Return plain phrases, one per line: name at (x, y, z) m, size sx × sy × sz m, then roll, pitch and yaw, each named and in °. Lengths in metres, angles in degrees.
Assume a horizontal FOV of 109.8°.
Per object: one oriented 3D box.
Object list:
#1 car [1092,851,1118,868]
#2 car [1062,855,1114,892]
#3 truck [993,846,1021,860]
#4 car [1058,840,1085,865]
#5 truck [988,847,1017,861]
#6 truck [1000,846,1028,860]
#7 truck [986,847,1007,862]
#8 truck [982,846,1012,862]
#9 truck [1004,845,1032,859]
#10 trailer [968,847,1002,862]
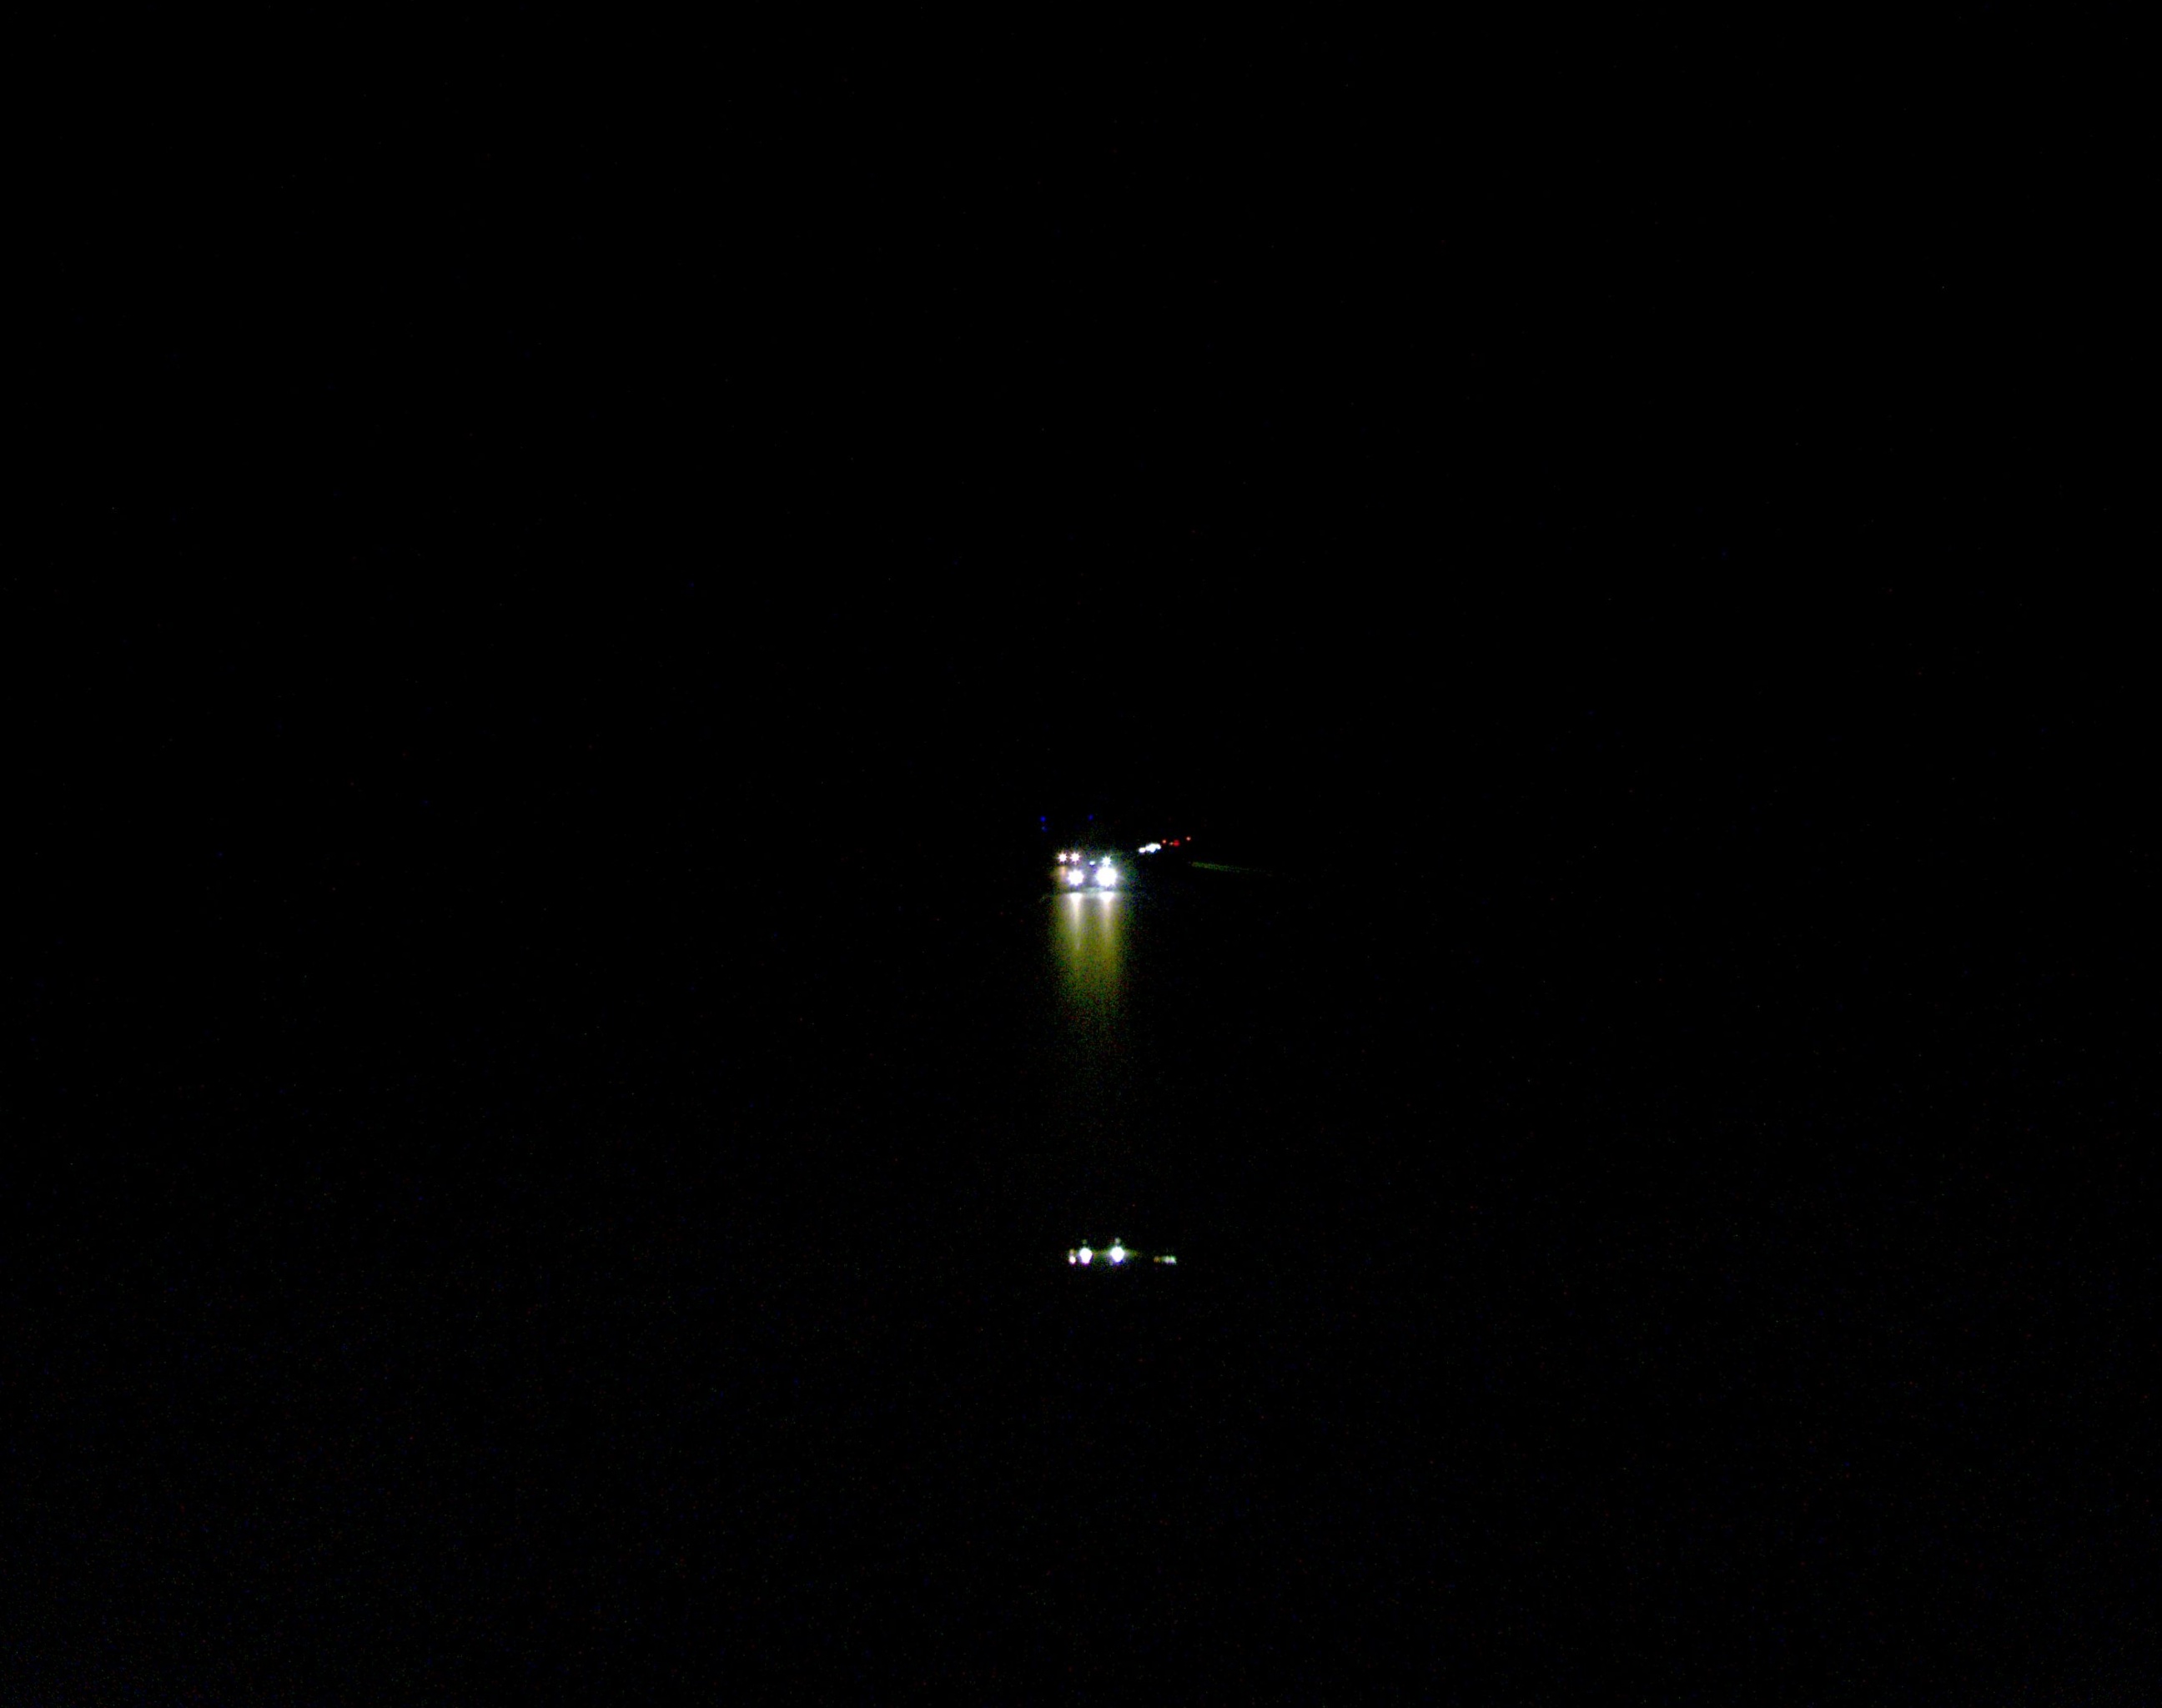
car at (2.256, 0.455, 70.740) m, size 1.998 × 1.455 × 4.001 m, roll -3°, pitch 0°, yaw 6°
car at (0.366, 0.811, 33.263) m, size 1.832 × 1.404 × 4.001 m, roll -3°, pitch 0°, yaw 6°
truck at (-22.363, -0.250, 229.889) m, size 3.065 × 3.902 × 9.637 m, roll -4°, pitch 1°, yaw -43°
car at (-1.097, -0.211, 93.392) m, size 2.533 × 2.888 × 6.230 m, roll -3°, pitch 0°, yaw 6°
truck at (-22.638, 0.028, 218.443) m, size 3.065 × 3.667 × 9.637 m, roll -4°, pitch 1°, yaw -43°
truck at (-20.552, -0.395, 233.202) m, size 2.965 × 3.902 × 9.637 m, roll -4°, pitch 1°, yaw -43°
truck at (-23.092, 0.127, 207.191) m, size 2.537 × 3.628 × 6.194 m, roll -4°, pitch 1°, yaw -41°
truck at (-23.786, 0.034, 213.801) m, size 3.065 × 3.902 × 9.637 m, roll -4°, pitch 1°, yaw -43°
truck at (-19.766, -0.490, 237.258) m, size 3.065 × 3.902 × 9.637 m, roll -4°, pitch 1°, yaw -43°
trailer at (-26.874, 0.242, 211.584) m, size 2.547 × 3.644 × 12.963 m, roll -4°, pitch 1°, yaw -41°
